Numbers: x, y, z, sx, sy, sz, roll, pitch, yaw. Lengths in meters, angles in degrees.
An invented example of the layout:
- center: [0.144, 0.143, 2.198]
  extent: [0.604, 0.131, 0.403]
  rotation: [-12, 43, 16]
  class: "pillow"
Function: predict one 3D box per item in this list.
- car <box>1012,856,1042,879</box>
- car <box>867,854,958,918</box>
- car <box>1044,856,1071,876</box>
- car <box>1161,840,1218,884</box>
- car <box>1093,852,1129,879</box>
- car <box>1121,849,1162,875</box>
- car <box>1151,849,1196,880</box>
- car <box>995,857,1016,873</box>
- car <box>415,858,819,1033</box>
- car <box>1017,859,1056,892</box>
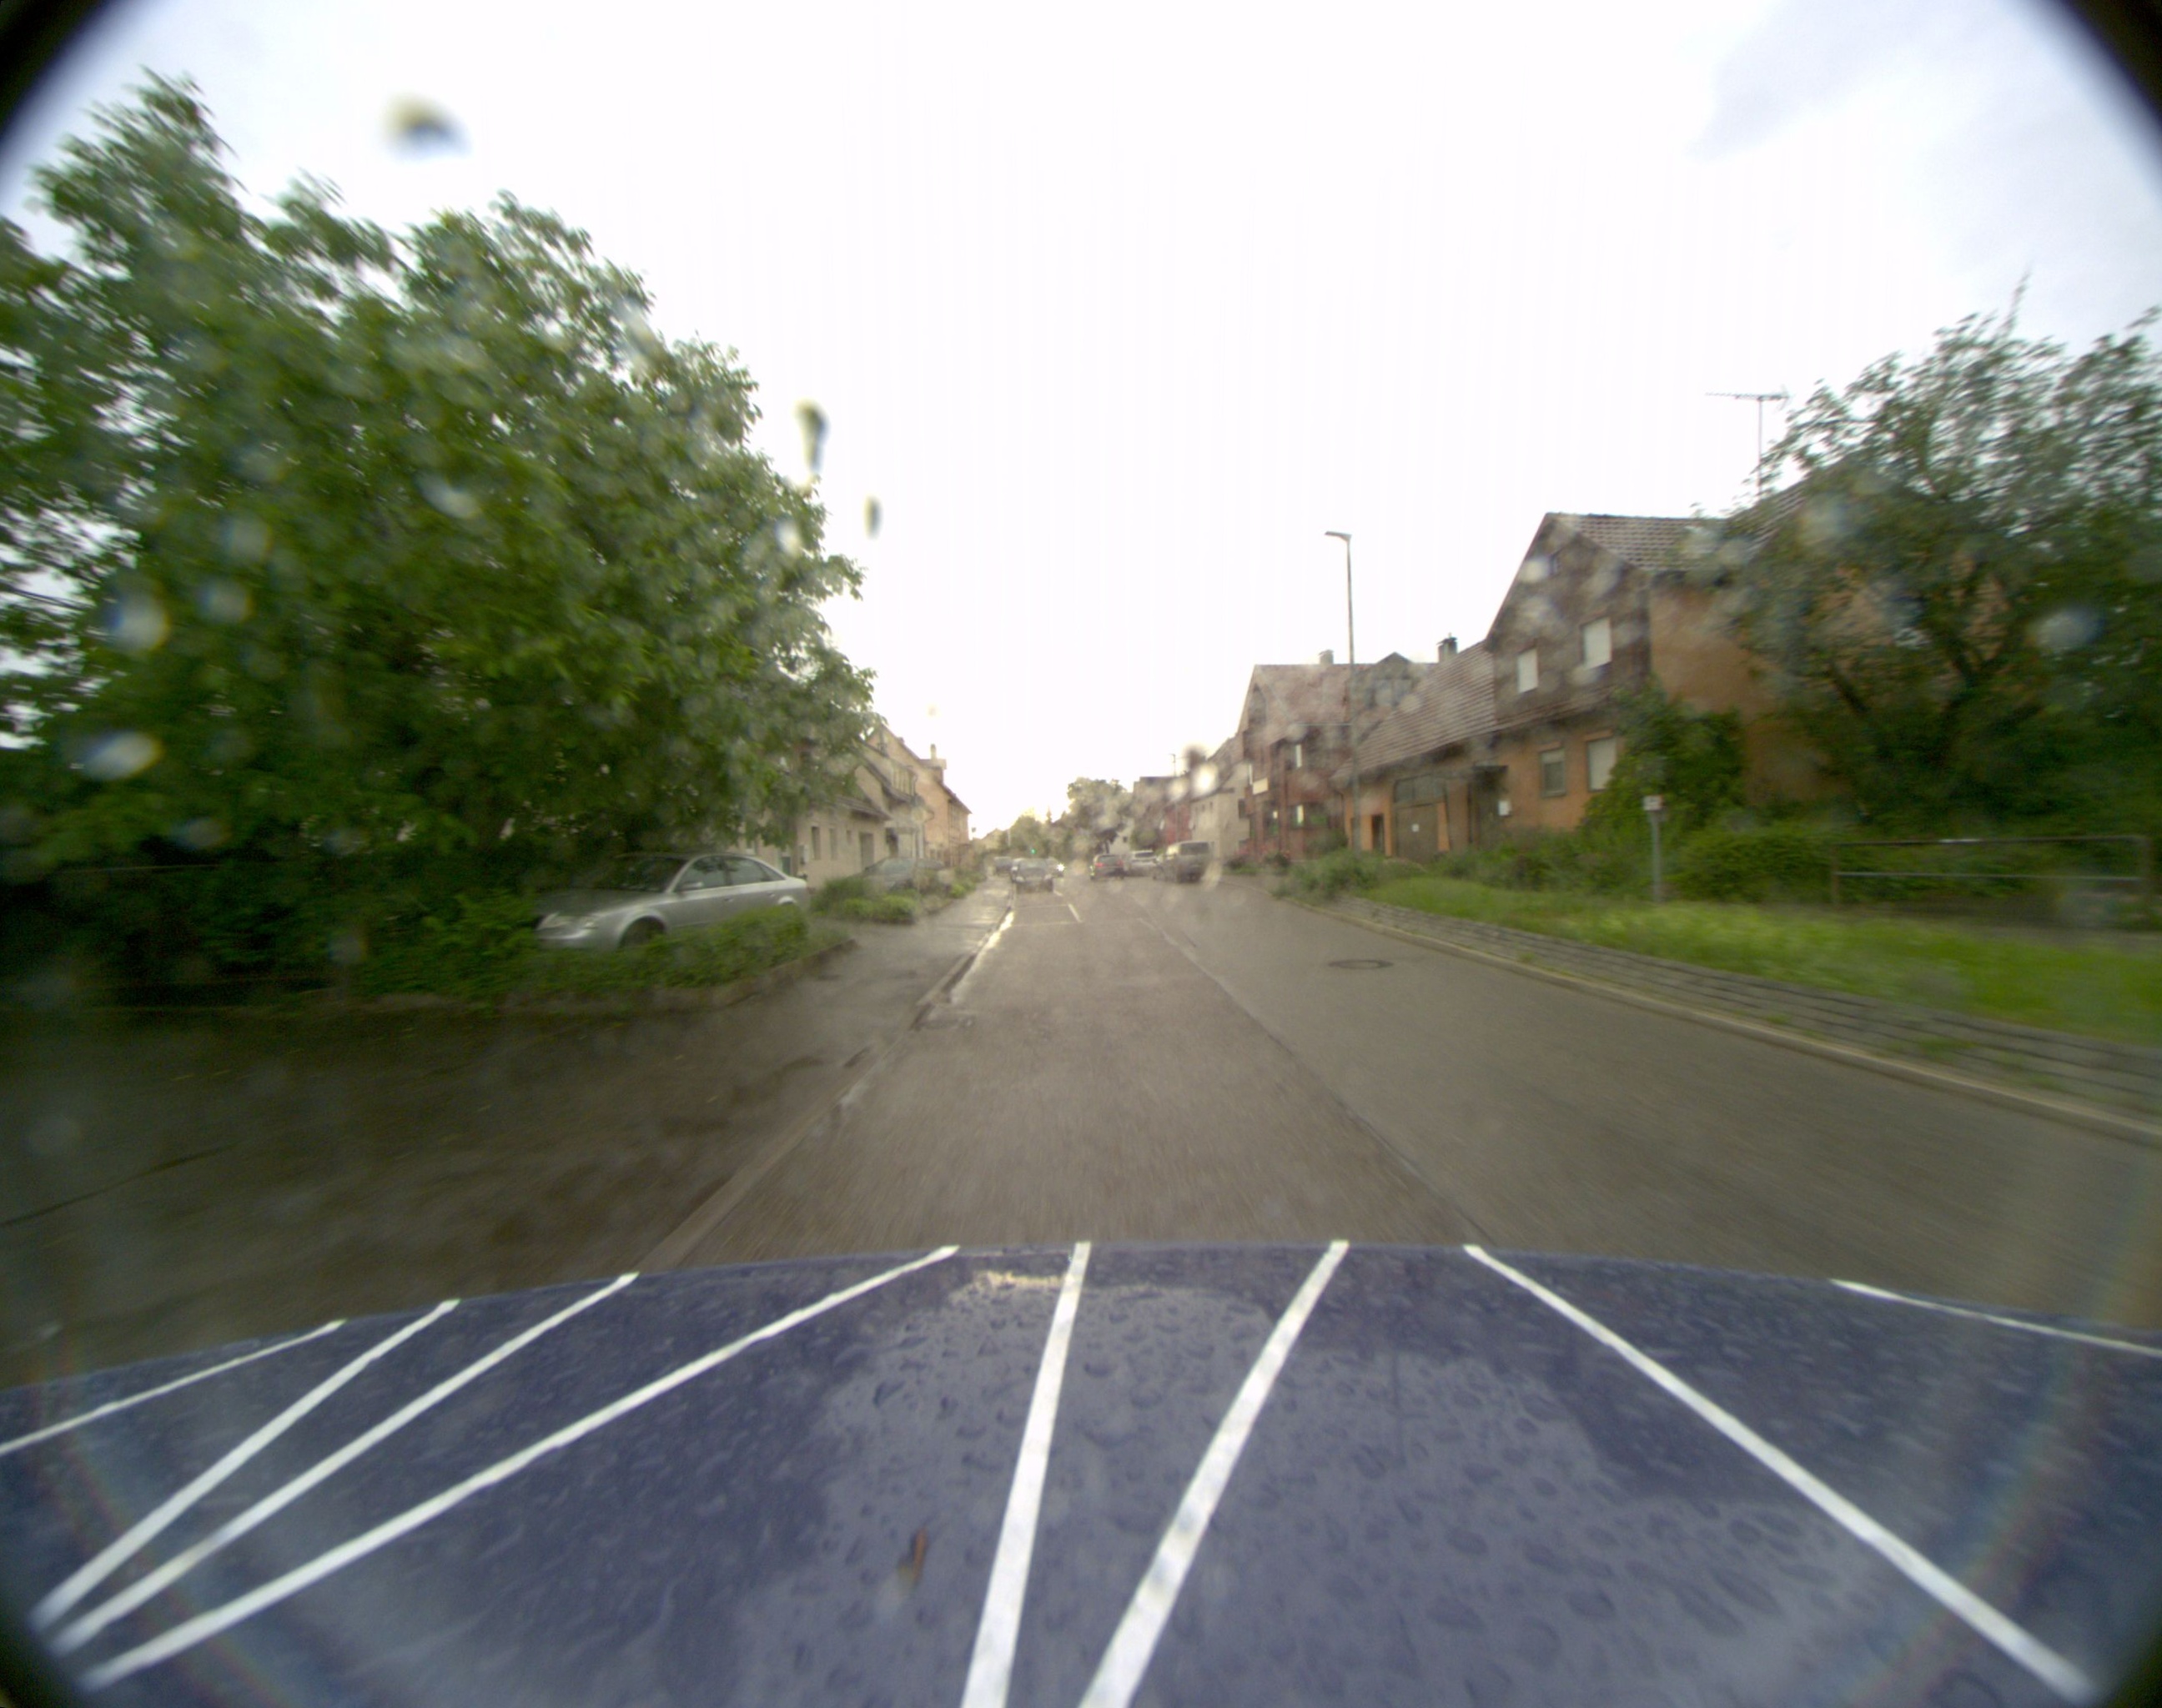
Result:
- center: [-3.819, 0.930, 53.807]
  extent: [1.999, 1.521, 3.998]
  rotation: [-2, 0, -4]
  class: "car"
- center: [-5.114, 0.897, 23.613]
  extent: [1.999, 1.721, 4.068]
  rotation: [-3, 0, -3]
  class: "car"
- center: [-1.948, 0.979, 62.547]
  extent: [1.999, 1.521, 3.998]
  rotation: [-3, 0, -4]
  class: "car"
- center: [5.259, 0.352, 37.221]
  extent: [1.846, 1.912, 4.188]
  rotation: [-4, 0, -4]
  class: "car"
- center: [1.829, 0.706, 47.256]
  extent: [1.812, 1.565, 3.999]
  rotation: [-2, 0, -4]
  class: "car"
- center: [4.067, 0.515, 51.594]
  extent: [1.813, 1.612, 3.997]
  rotation: [-2, 0, -9]
  class: "car"
- center: [5.066, 0.557, 42.199]
  extent: [1.812, 1.565, 3.663]
  rotation: [-2, 0, -4]
  class: "car"
- center: [-7.877, 1.158, 78.731]
  extent: [2.000, 1.521, 3.998]
  rotation: [-3, 0, -7]
  class: "car"
- center: [-5.611, 0.970, 10.058]
  extent: [1.910, 1.701, 4.483]
  rotation: [-2, 0, 13]
  class: "car"
- center: [-2.183, 1.003, 37.236]
  extent: [1.788, 1.455, 3.999]
  rotation: [-2, 0, -4]
  class: "car"
